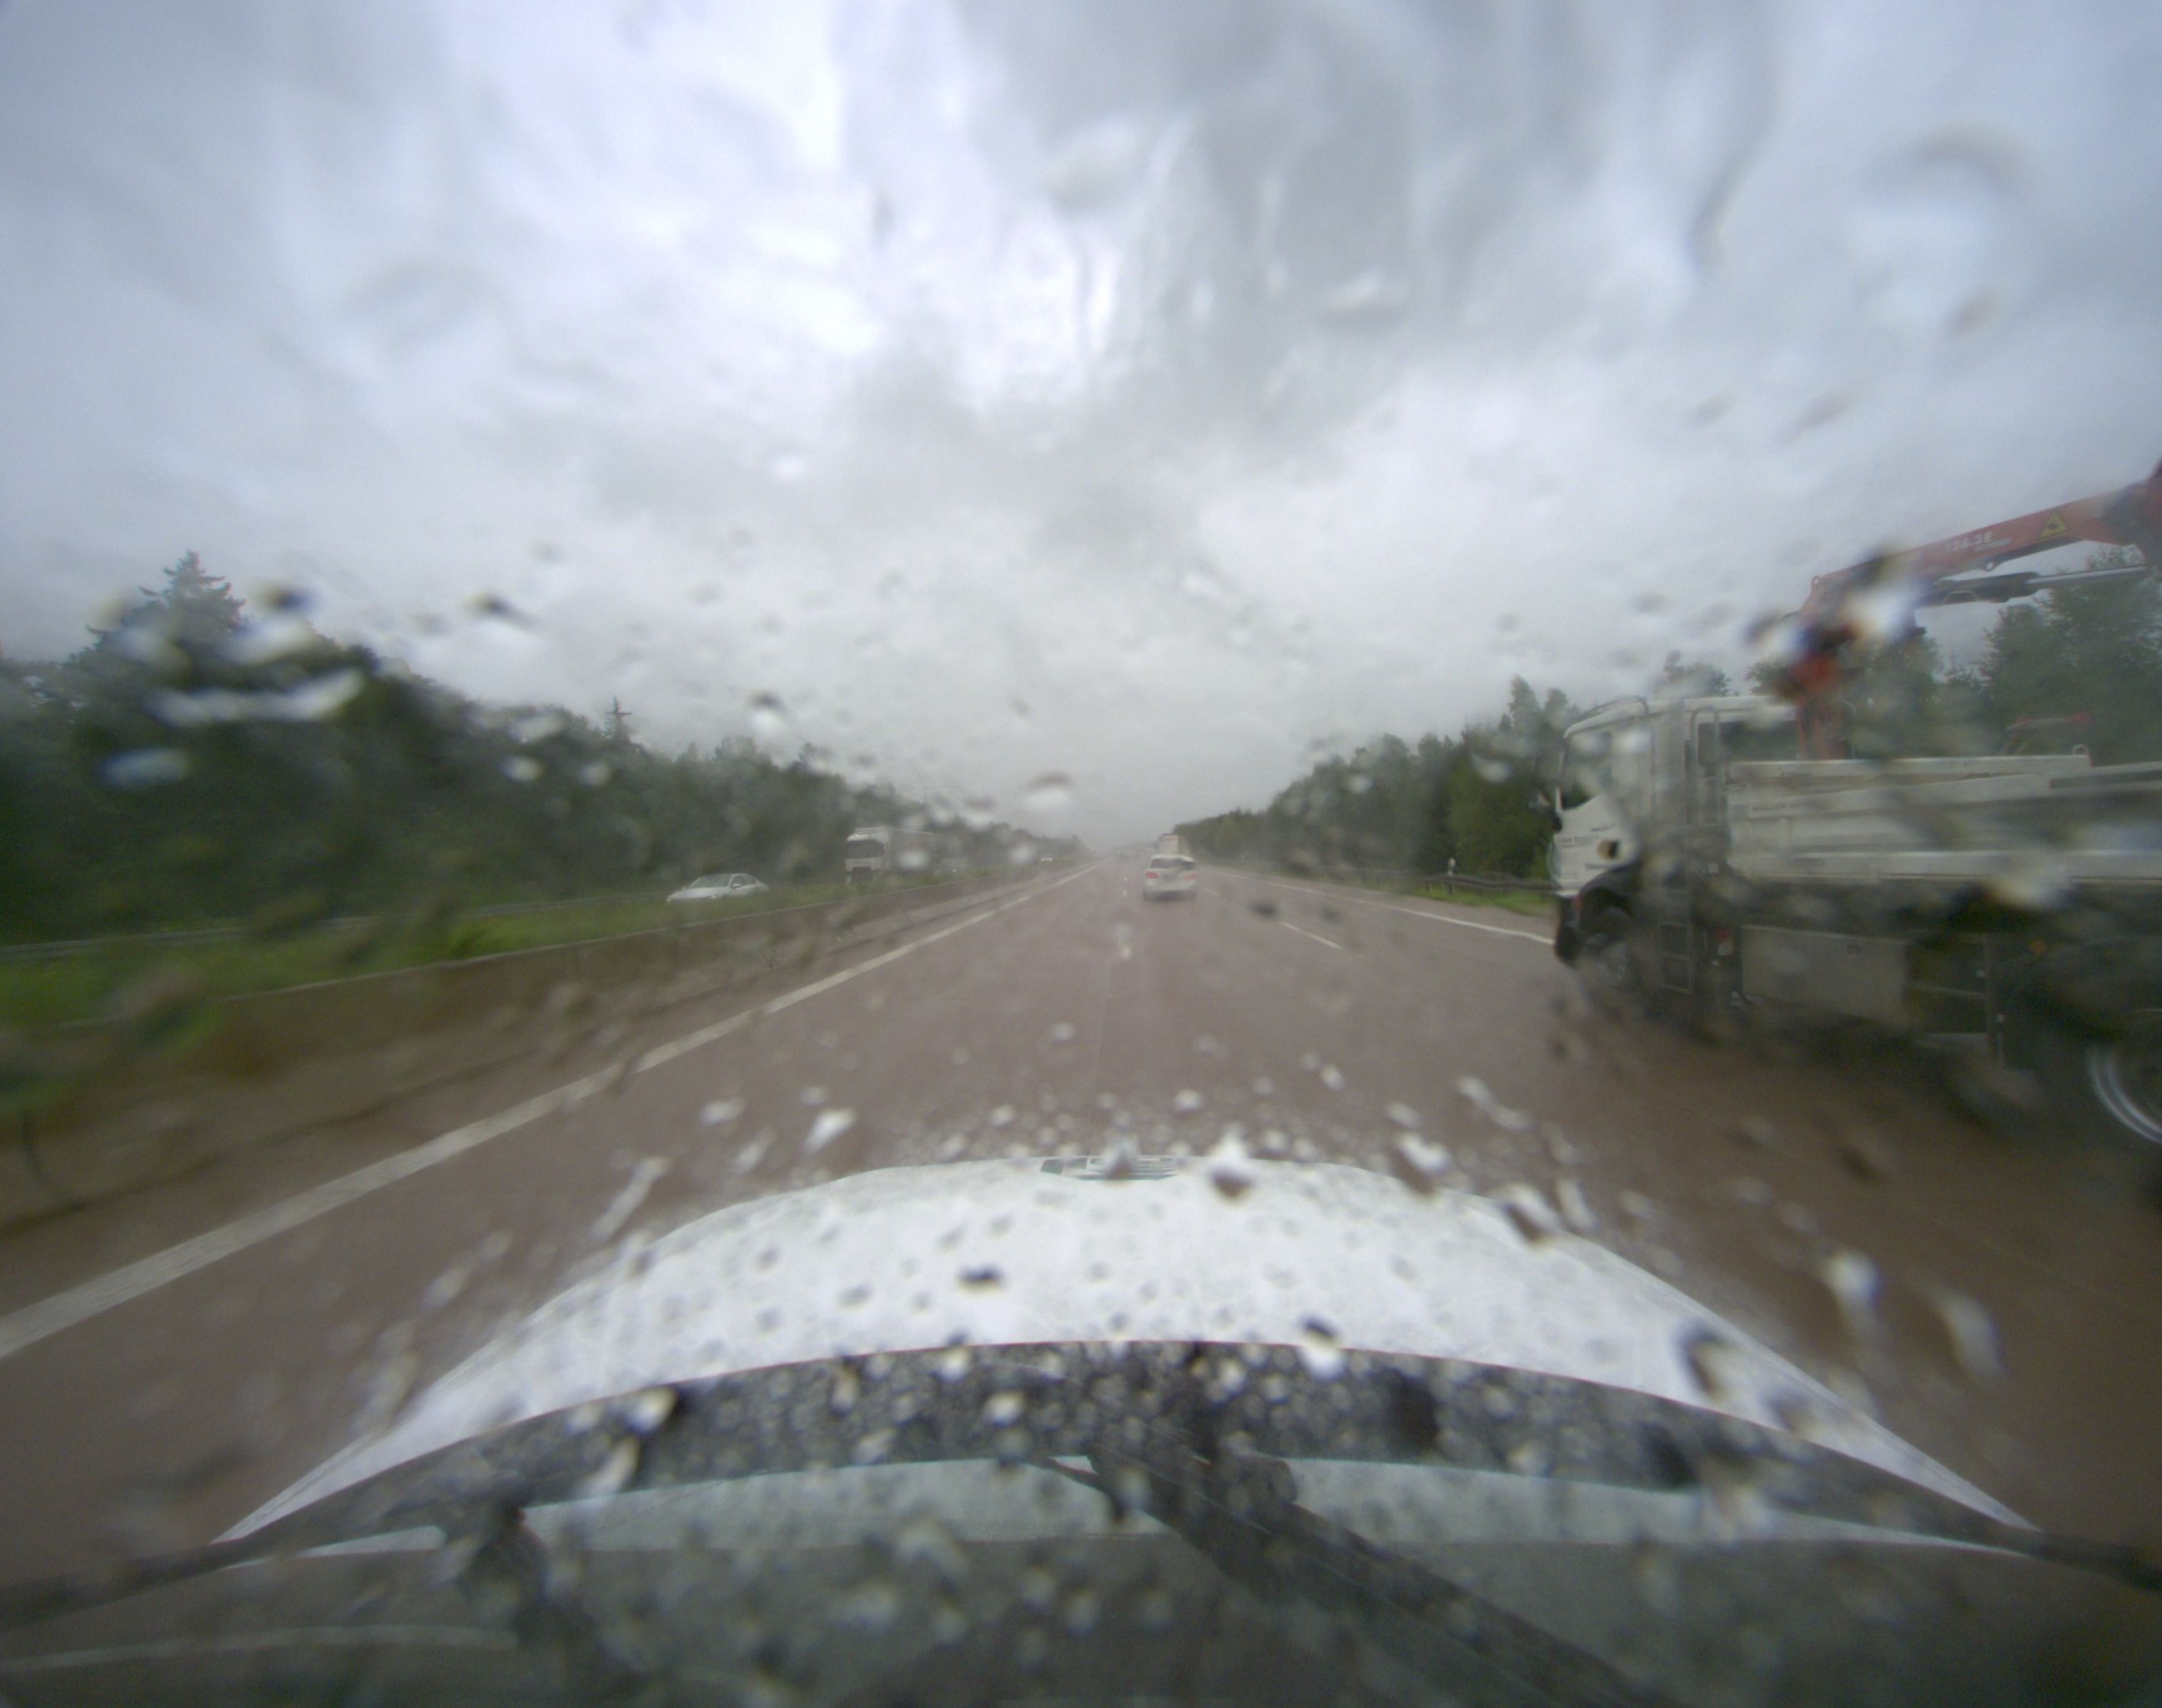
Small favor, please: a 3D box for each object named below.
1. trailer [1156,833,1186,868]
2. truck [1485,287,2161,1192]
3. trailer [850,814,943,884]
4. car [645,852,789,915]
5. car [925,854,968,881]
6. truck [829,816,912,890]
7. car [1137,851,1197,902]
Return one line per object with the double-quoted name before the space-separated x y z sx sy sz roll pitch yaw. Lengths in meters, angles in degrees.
"trailer" 11.701 -0.464 106.657 2.841 4.231 13.139 -3 0 2
"truck" 6.183 -0.482 5.554 3.221 3.730 7.960 -1 0 3
"trailer" -14.299 -0.376 64.822 3.740 4.953 13.690 0 0 3
"car" -12.595 0.927 28.762 2.297 1.978 5.759 -1 0 2
"car" -10.471 1.023 63.633 2.297 2.013 5.154 -1 0 2
"truck" -14.666 -0.017 57.486 3.665 4.871 7.259 0 -1 2
"car" 3.049 0.759 29.619 1.801 1.728 4.745 0 0 2
